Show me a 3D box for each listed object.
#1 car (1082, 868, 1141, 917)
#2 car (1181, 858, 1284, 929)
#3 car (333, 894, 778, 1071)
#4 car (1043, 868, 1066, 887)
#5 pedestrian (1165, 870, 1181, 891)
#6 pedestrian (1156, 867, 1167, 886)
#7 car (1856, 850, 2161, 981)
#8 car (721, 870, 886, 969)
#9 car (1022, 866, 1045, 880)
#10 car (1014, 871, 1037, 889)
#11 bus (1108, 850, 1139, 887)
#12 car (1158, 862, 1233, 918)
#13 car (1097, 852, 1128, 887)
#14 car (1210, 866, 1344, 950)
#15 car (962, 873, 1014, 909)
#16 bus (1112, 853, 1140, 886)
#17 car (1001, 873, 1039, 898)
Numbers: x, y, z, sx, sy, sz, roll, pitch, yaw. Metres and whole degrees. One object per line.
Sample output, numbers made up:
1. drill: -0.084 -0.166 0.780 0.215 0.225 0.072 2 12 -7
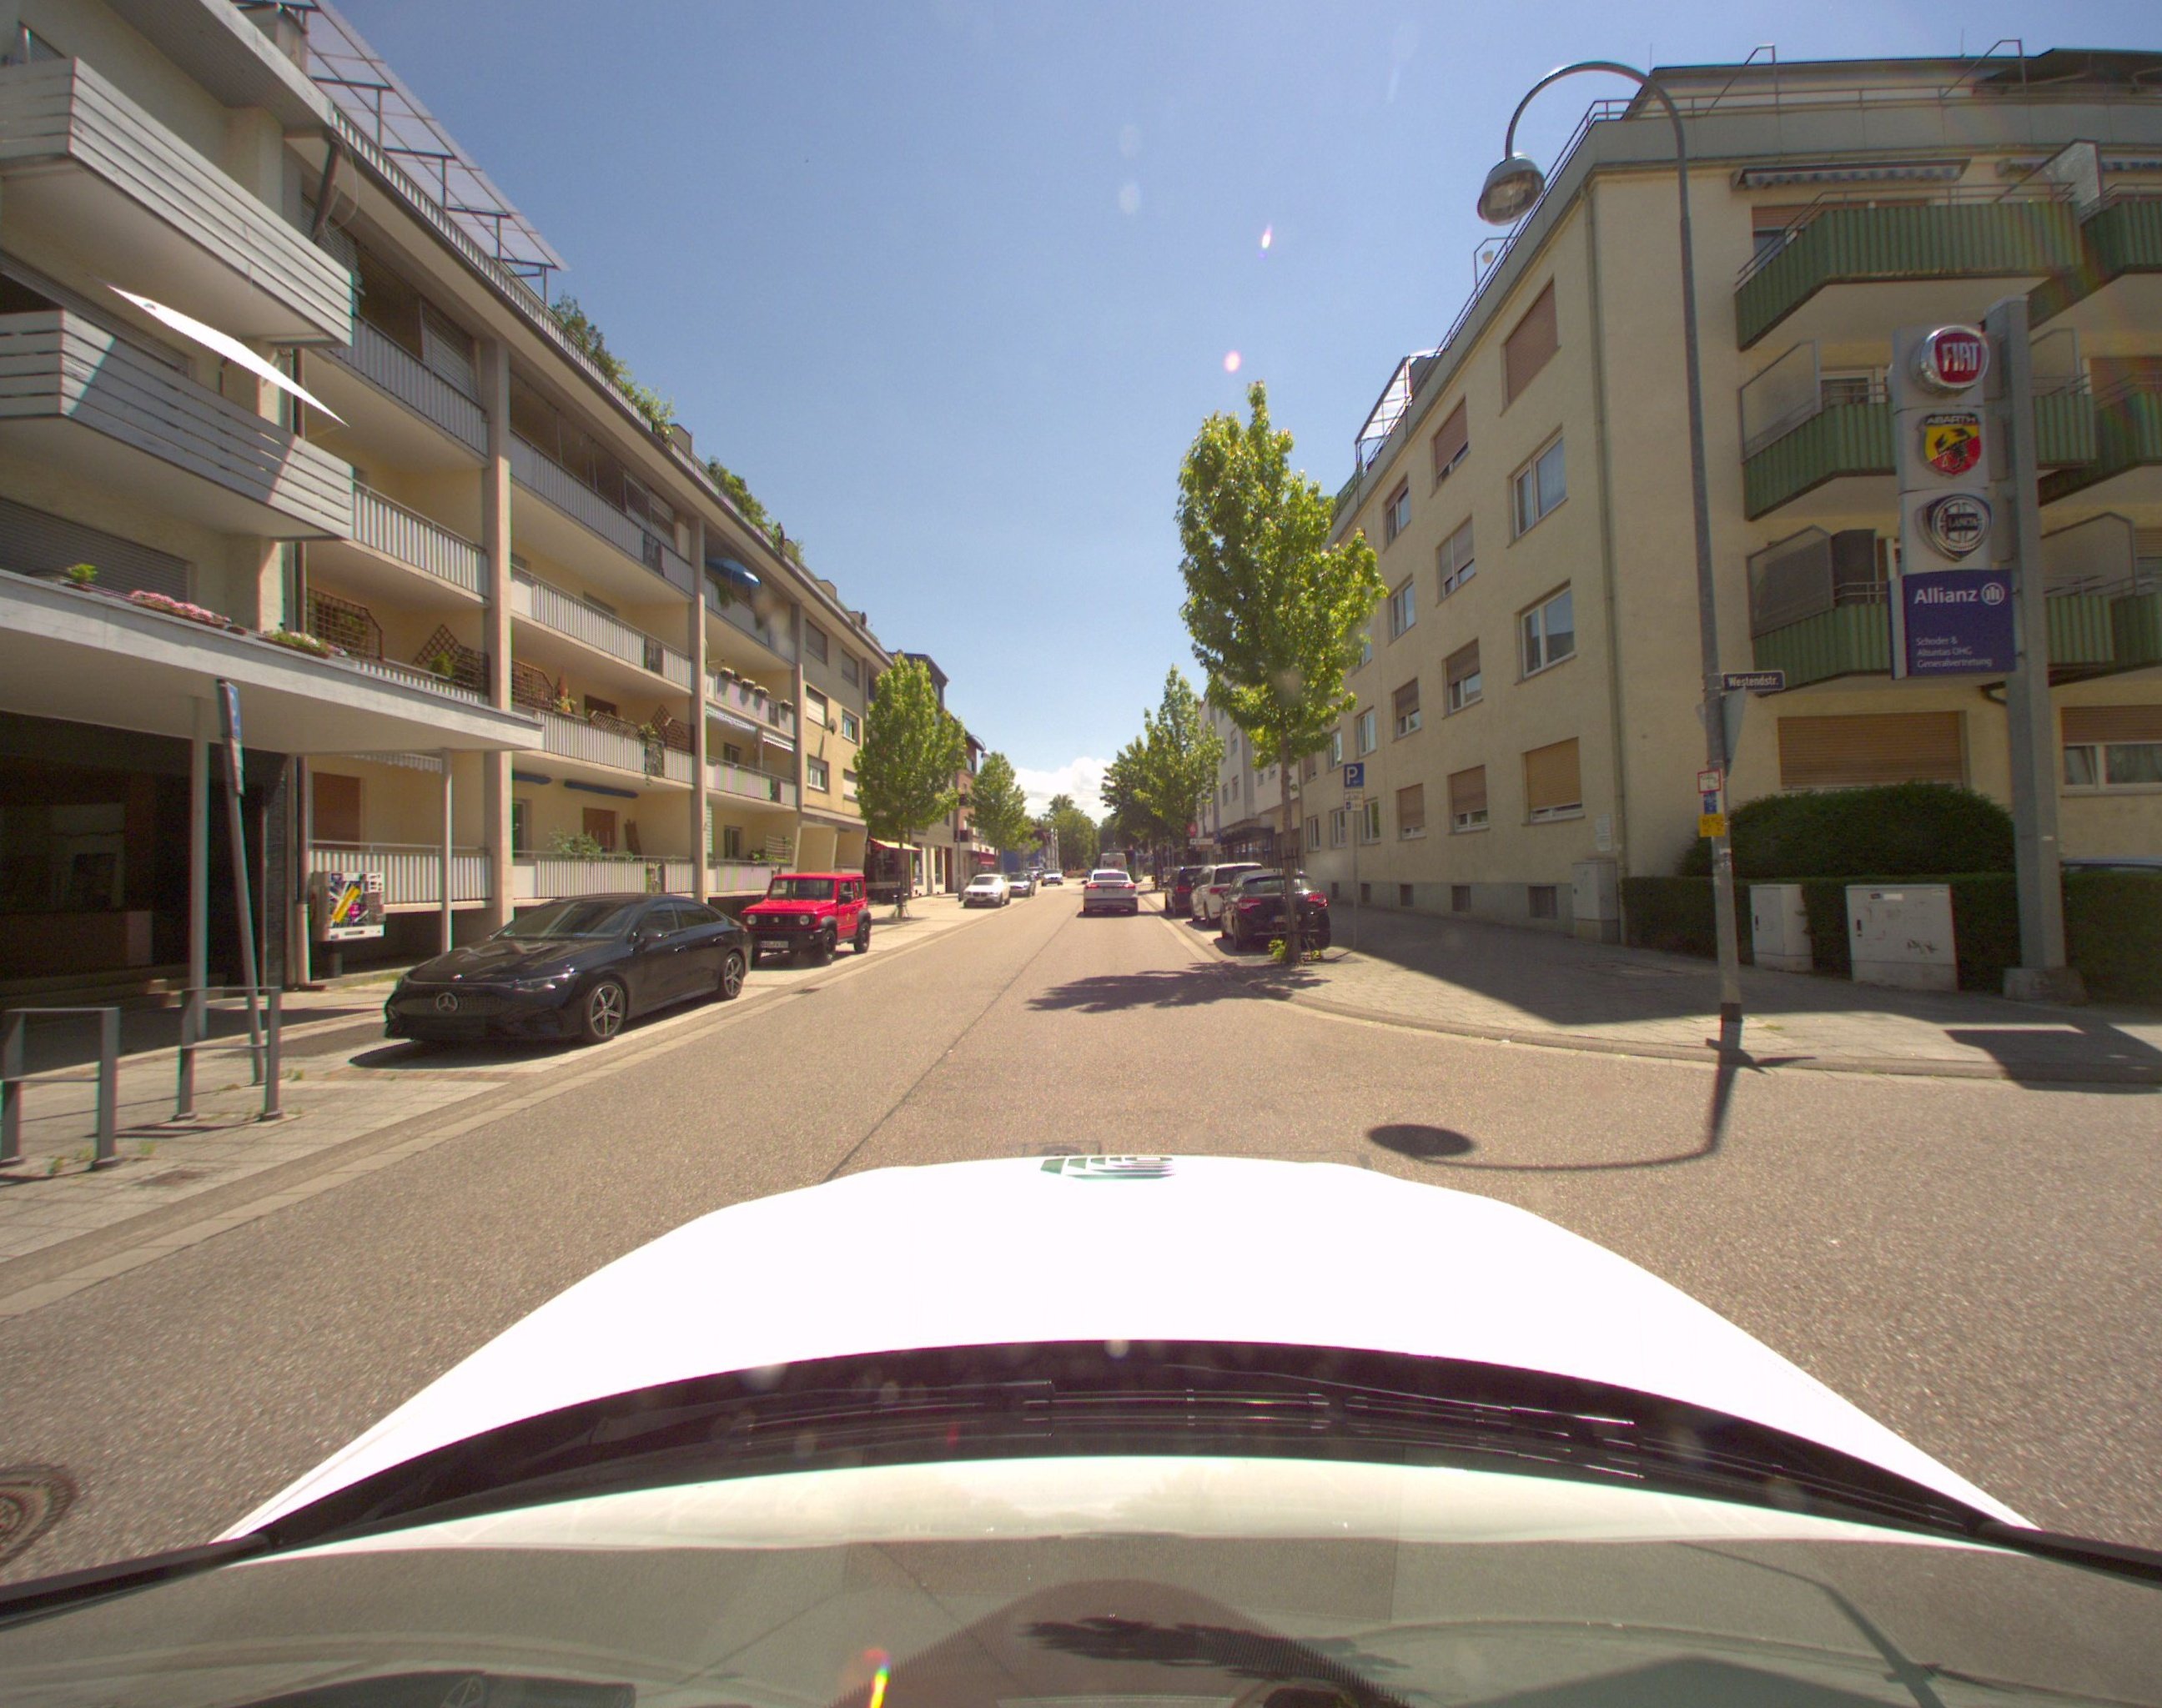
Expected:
1. car: 1.081 1.353 29.572 1.987 1.633 4.000 0 -1 1
2. car: 4.089 1.044 22.806 1.890 1.674 4.689 -3 -1 -1
3. car: -5.572 1.251 9.706 1.889 1.417 5.049 0 -1 2
4. car: -2.537 2.224 78.070 1.849 1.692 4.151 -3 -1 1
5. pedestrian: 5.614 1.633 49.875 0.903 1.236 0.648 -2 -1 1
6. pedestrian: 6.422 1.829 65.214 0.716 1.503 0.581 -2 -2 -7
7. car: 12.654 0.686 10.334 1.833 1.417 3.850 -2 -1 -3
8. car: -5.298 1.174 16.182 1.746 1.702 4.102 0 -1 2
9. car: -5.886 2.371 102.156 1.852 1.758 4.013 0 -2 13
10. car: -4.844 2.288 71.544 1.833 1.495 3.995 -2 -1 -3
11. bus: 4.000 1.385 74.721 2.648 3.222 7.309 0 -2 5
12. car: 3.858 1.190 28.158 1.850 1.674 4.535 -3 -1 -1
13. car: 2.328 1.132 59.223 2.148 2.442 5.285 0 -2 2
14. car: 3.821 1.000 16.666 1.888 1.438 4.548 -2 -1 4
15. car: -4.441 1.746 39.480 1.745 1.618 4.404 0 -1 3
16. bus: 4.605 1.602 82.068 2.648 3.210 7.459 0 -2 5
17. car: -3.730 1.926 50.335 1.745 1.453 4.405 0 -1 4
